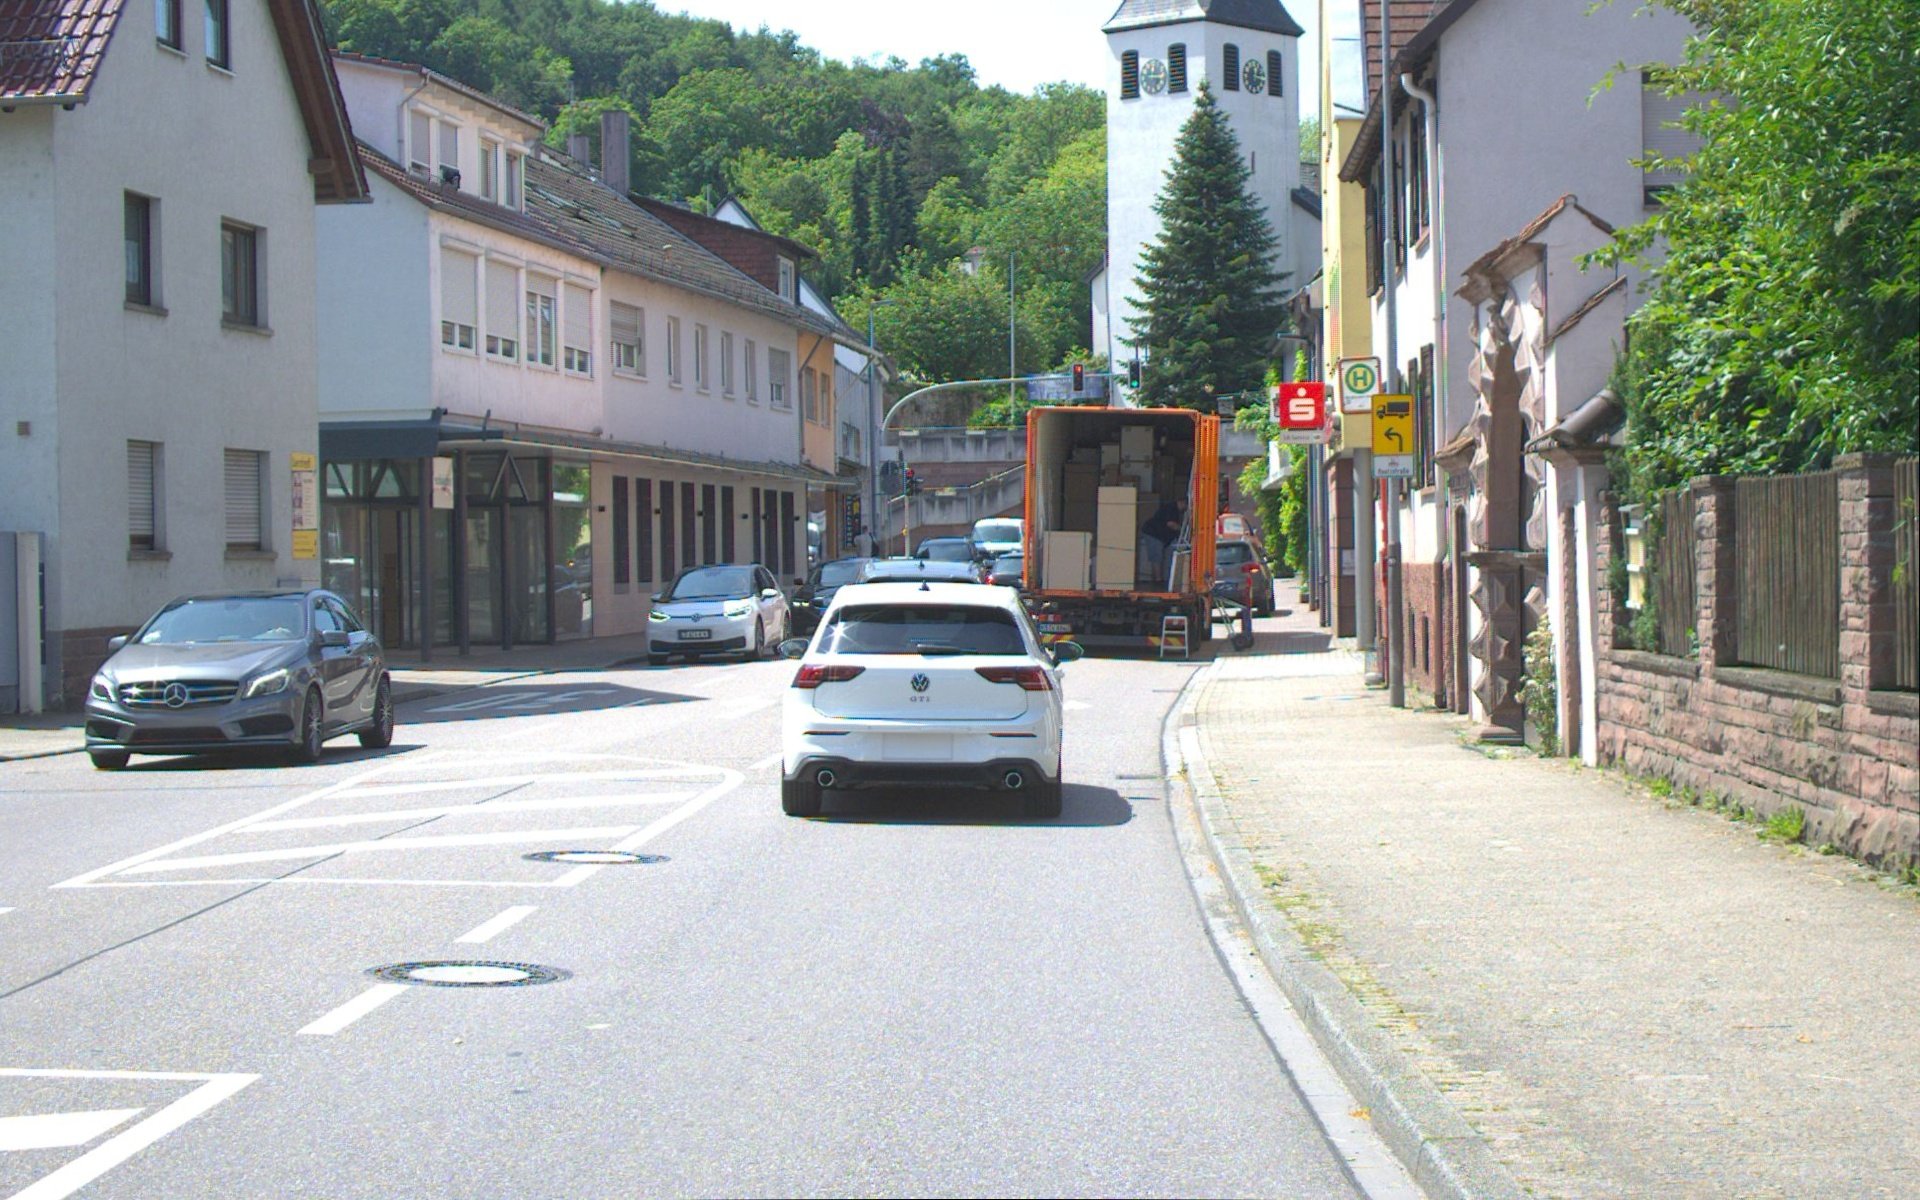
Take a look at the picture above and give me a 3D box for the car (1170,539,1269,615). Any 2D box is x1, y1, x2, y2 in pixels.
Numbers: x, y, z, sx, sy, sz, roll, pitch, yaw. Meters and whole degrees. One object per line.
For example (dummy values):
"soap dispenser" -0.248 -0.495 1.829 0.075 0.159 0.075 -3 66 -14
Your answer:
"car" 5.513 -0.477 73.345 1.815 1.514 4.000 -2 0 1

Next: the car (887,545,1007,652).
"car" -0.176 -0.024 55.847 1.815 1.623 4.000 -2 0 1

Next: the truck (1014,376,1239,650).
"truck" 2.849 -1.354 58.242 3.367 4.156 9.518 -2 0 3

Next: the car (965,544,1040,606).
"car" 1.329 -0.791 106.392 1.802 1.774 4.704 -2 1 7

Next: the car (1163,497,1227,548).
"car" 7.567 -2.494 111.169 1.815 1.514 4.000 -2 0 1

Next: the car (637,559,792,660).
"car" -3.889 0.143 55.136 1.796 1.503 4.133 -2 0 5

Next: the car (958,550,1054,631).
"car" 0.924 -0.188 68.608 1.815 1.514 4.000 -2 0 1

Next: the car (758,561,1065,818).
"car" -0.259 0.533 22.477 1.815 1.514 4.000 0 0 1

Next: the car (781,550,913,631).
"car" -2.199 -0.189 67.925 1.794 1.488 4.419 -2 0 9

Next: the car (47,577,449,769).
"car" -5.834 0.560 28.720 1.863 1.437 4.215 -2 0 9

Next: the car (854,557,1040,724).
"car" -0.103 0.409 36.541 1.815 1.623 4.000 -2 0 1
